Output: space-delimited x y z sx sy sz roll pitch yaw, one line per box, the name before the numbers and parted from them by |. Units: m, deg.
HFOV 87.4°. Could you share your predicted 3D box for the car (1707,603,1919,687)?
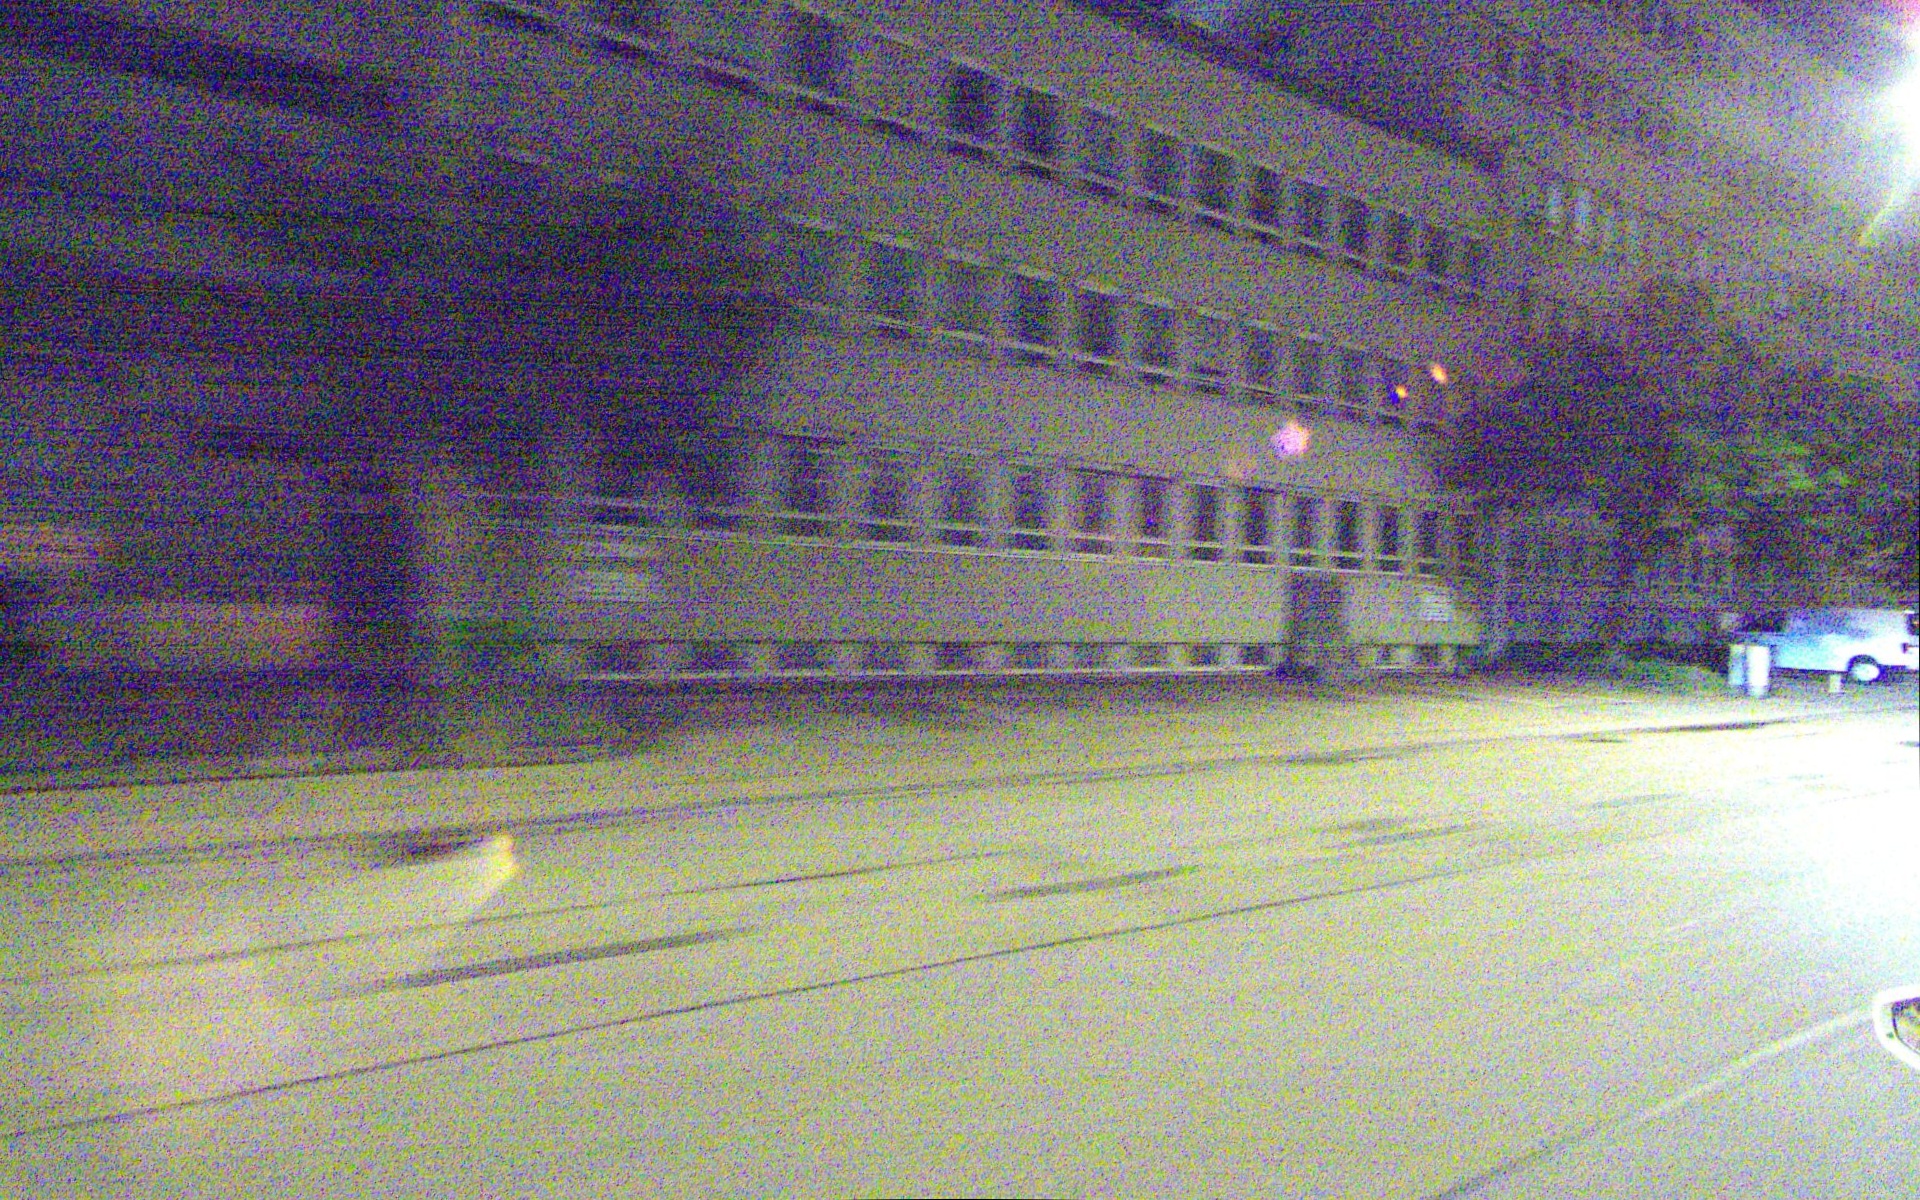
car | 23.698 1.172 27.800 1.976 1.998 4.411 1 1 -29
